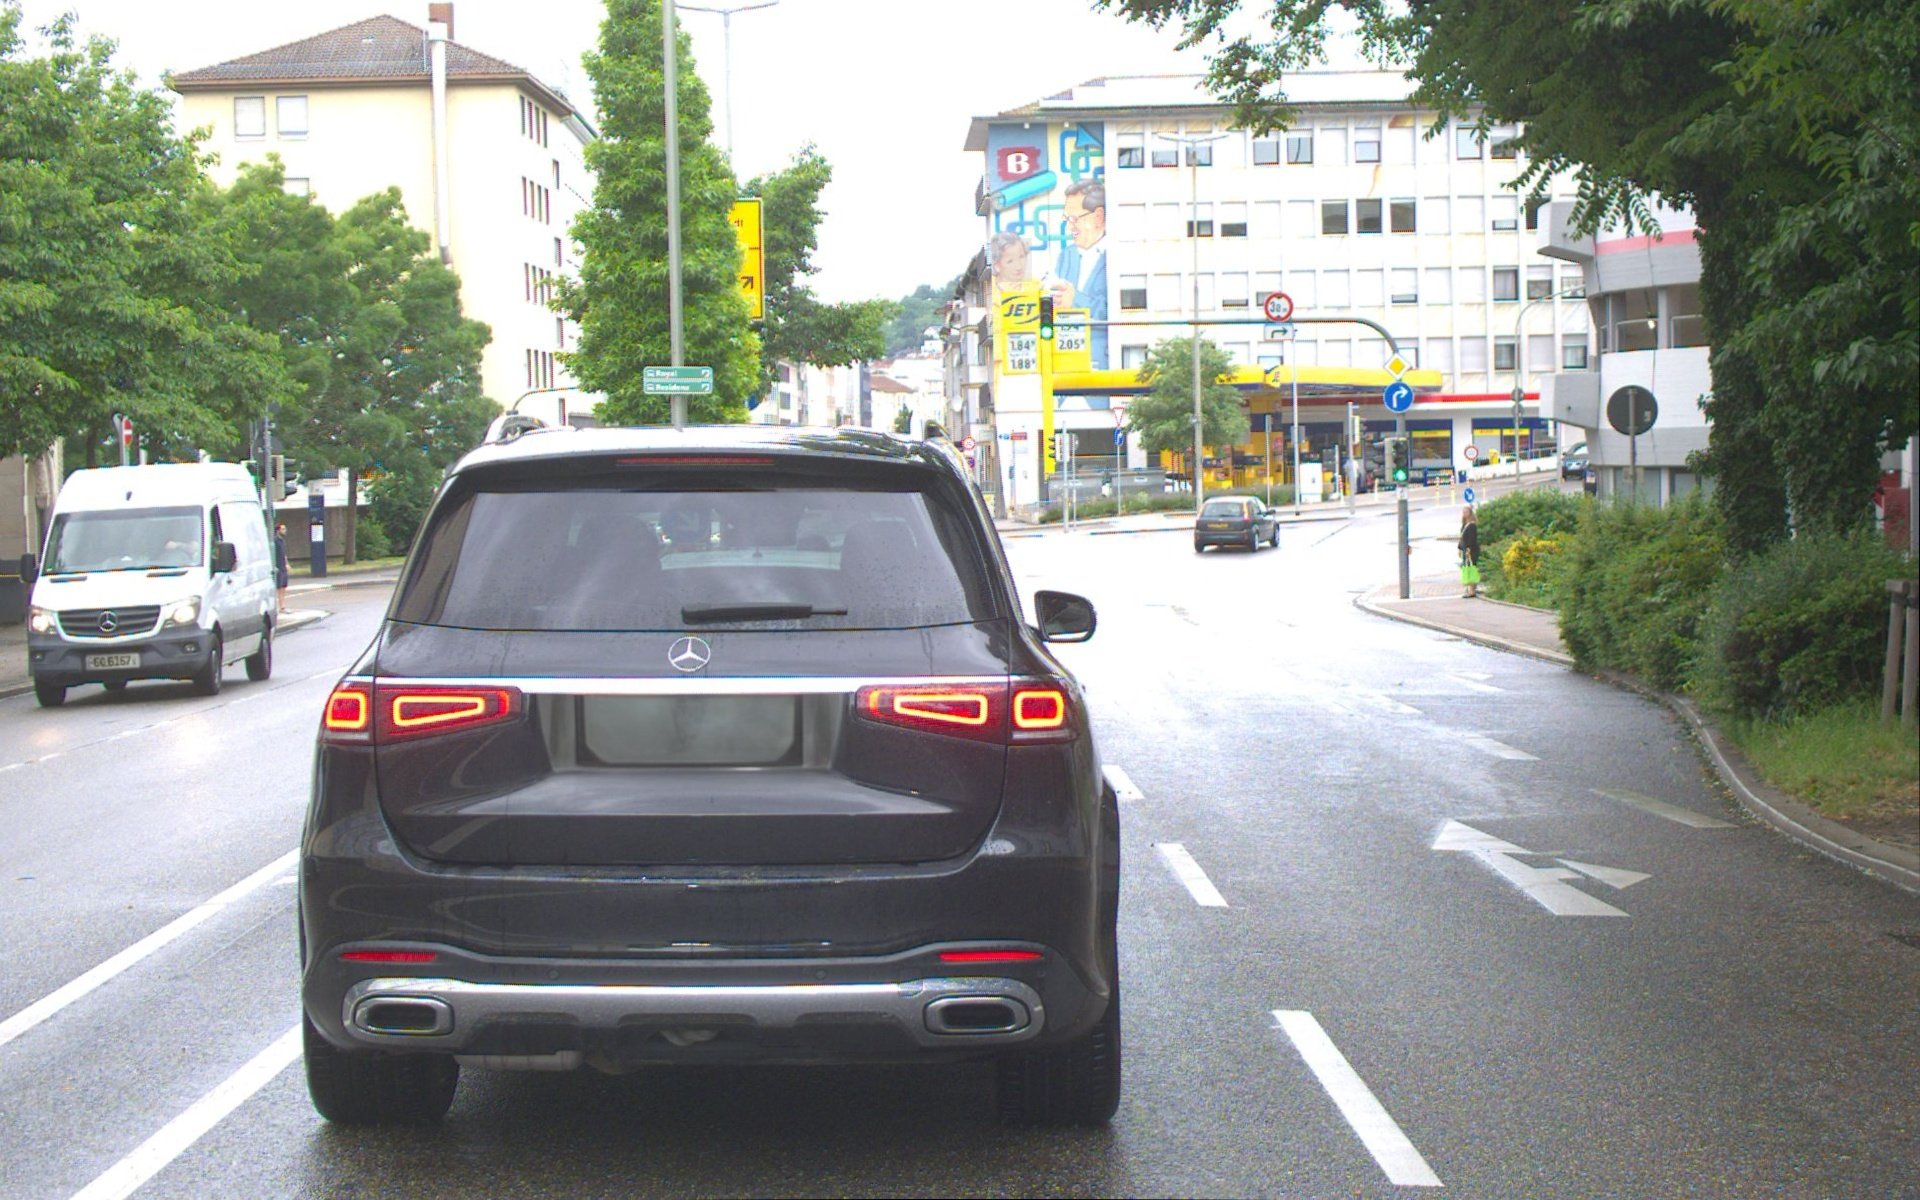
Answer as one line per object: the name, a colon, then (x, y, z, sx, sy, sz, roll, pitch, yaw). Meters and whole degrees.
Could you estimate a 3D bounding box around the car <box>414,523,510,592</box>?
car: (-11.274, -0.963, 77.997, 1.797, 1.489, 3.804, 1, 1, -3)

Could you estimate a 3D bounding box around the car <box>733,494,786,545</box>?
car: (-7.500, -2.989, 128.749, 1.868, 1.833, 3.820, 1, 1, -2)

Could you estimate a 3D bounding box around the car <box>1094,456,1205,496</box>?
car: (7.072, -4.617, 128.511, 1.732, 1.371, 3.998, -4, 3, -44)

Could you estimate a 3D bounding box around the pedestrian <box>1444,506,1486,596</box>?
pedestrian: (9.599, -0.929, 65.352, 0.646, 1.704, 0.470, 1, 0, 36)

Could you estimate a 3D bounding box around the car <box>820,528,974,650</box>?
car: (-0.808, -0.155, 44.922, 1.907, 1.496, 4.000, 1, 1, -1)

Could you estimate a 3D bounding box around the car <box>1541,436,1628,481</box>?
car: (25.147, -5.705, 138.393, 1.997, 1.700, 3.993, 0, 2, 33)

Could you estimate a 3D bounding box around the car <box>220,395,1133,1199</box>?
car: (-0.649, 0.437, 9.597, 1.993, 1.794, 4.000, 1, 1, -1)

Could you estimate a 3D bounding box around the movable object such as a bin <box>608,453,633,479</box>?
movable object such as a bin: (-13.924, -5.492, 141.034, 0.910, 1.034, 0.844, 1, 0, 1)

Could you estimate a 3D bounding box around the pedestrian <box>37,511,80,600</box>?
pedestrian: (-17.085, -0.841, 65.163, 0.642, 1.660, 1.019, 1, 0, -6)

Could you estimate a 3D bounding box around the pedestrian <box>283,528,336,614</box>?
pedestrian: (-12.980, -0.585, 68.556, 0.946, 1.699, 0.713, 1, 0, -17)

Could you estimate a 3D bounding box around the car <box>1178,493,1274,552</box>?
car: (7.107, -2.081, 91.426, 1.797, 1.520, 4.053, 1, 2, 15)

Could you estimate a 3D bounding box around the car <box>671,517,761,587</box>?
car: (-6.819, -1.367, 96.362, 1.891, 1.805, 4.574, -3, 1, 3)

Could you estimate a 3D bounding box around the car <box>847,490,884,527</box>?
car: (-5.431, -5.260, 197.602, 1.993, 2.007, 4.000, 1, 1, 0)

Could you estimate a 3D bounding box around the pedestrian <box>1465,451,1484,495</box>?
pedestrian: (20.479, -5.058, 136.756, 0.526, 1.721, 0.688, 0, 2, 26)

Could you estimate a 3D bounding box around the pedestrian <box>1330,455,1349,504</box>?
pedestrian: (13.266, -4.202, 120.266, 0.572, 1.691, 0.631, 1, 0, 1)

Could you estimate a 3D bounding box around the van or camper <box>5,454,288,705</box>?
van or camper: (-9.224, -0.272, 39.492, 2.101, 2.573, 5.909, -3, 1, -4)

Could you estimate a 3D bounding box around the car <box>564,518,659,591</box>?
car: (-7.626, -1.006, 75.491, 1.811, 1.457, 4.289, -3, 1, -3)

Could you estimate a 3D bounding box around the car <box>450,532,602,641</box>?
car: (-6.518, -0.233, 52.066, 1.883, 1.492, 4.563, -2, 1, -3)

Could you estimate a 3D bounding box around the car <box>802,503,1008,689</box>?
car: (-0.561, -0.064, 35.639, 1.993, 1.794, 4.000, 1, 1, -1)
